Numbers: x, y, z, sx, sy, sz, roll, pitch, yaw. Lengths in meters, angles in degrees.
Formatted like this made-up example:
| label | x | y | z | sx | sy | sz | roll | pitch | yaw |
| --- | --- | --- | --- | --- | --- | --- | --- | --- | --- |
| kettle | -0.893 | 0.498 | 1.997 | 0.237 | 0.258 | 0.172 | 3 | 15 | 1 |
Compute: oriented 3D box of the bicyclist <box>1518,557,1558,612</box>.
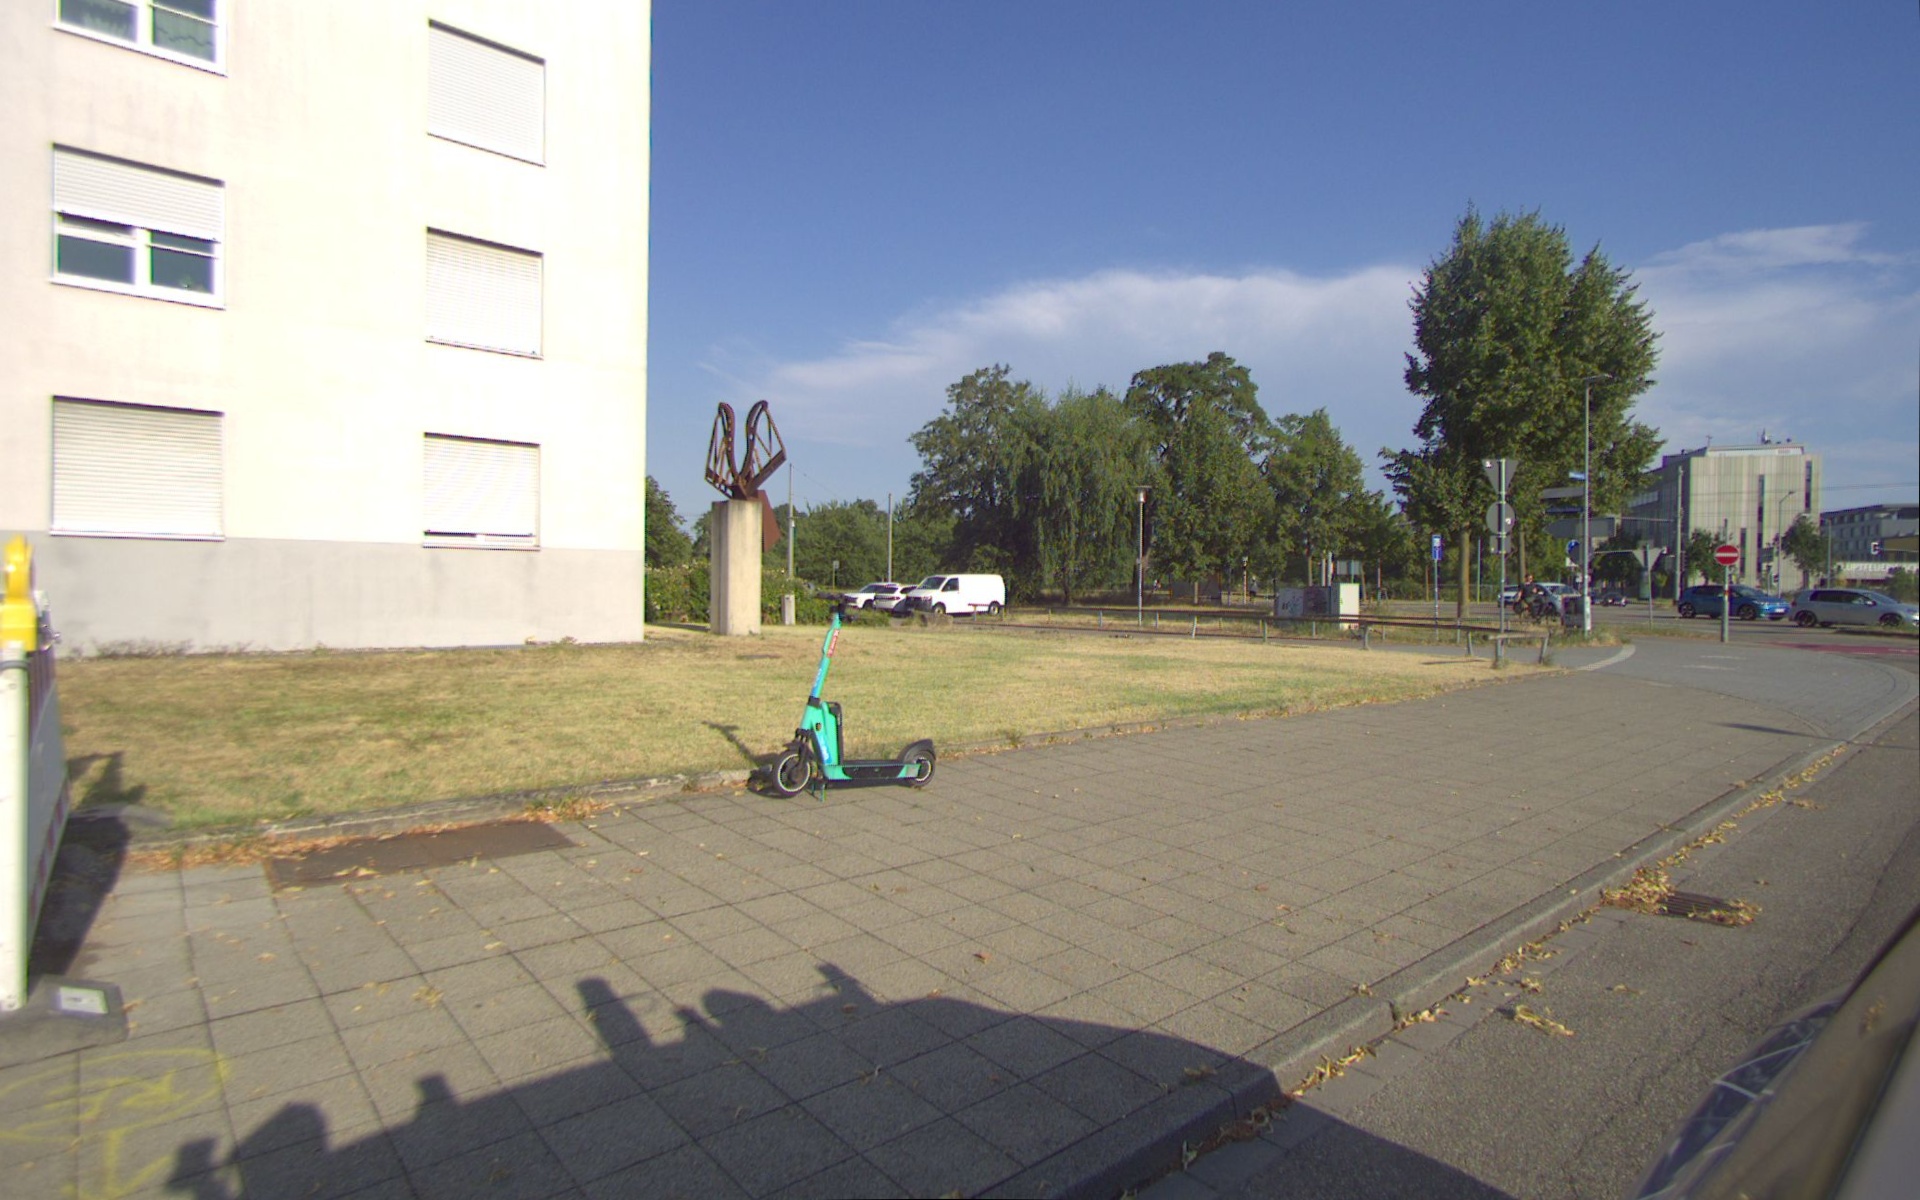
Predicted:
| label | x | y | z | sx | sy | sz | roll | pitch | yaw |
| --- | --- | --- | --- | --- | --- | --- | --- | --- | --- |
| bicyclist | 19.331 | -0.517 | 33.878 | 0.715 | 1.823 | 0.938 | 0 | 1 | -37 |

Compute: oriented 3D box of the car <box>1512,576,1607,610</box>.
| label | x | y | z | sx | sy | sz | roll | pitch | yaw |
| --- | --- | --- | --- | --- | --- | --- | --- | --- | --- |
| car | 29.397 | -0.390 | 49.775 | 1.873 | 1.570 | 4.054 | 1 | 1 | -7 |

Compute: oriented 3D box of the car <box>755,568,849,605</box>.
| label | x | y | z | sx | sy | sz | roll | pitch | yaw |
| --- | --- | --- | --- | --- | --- | --- | --- | --- | --- |
| car | -9.061 | -0.807 | 58.307 | 4.970 | 2.038 | 2.266 | -1 | 2 | -41 |

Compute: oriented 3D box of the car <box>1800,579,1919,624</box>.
| label | x | y | z | sx | sy | sz | roll | pitch | yaw |
| --- | --- | --- | --- | --- | --- | --- | --- | --- | --- |
| car | 33.630 | 0.034 | 37.014 | 1.959 | 1.542 | 4.006 | 1 | 2 | -28 |

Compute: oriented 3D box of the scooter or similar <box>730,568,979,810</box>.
| label | x | y | z | sx | sy | sz | roll | pitch | yaw |
| --- | --- | --- | --- | --- | --- | --- | --- | --- | --- |
| scooter or similar | -0.634 | 0.479 | 6.308 | 1.437 | 1.307 | 0.560 | -2 | 7 | -41 |

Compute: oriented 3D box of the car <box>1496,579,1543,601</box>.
| label | x | y | z | sx | sy | sz | roll | pitch | yaw |
| --- | --- | --- | --- | --- | --- | --- | --- | --- | --- |
| car | 37.391 | -0.710 | 67.566 | 2.083 | 1.401 | 4.528 | 2 | 2 | 37 |

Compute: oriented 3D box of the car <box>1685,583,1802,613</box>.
| label | x | y | z | sx | sy | sz | roll | pitch | yaw |
| --- | --- | --- | --- | --- | --- | --- | --- | --- | --- |
| car | 34.450 | -0.101 | 44.638 | 1.611 | 1.193 | 4.007 | 1 | 1 | -9 |

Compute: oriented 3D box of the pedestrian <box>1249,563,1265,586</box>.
| label | x | y | z | sx | sy | sz | roll | pitch | yaw |
| --- | --- | --- | --- | --- | --- | --- | --- | --- | --- |
| pedestrian | 18.912 | -1.638 | 64.405 | 0.754 | 1.408 | 0.652 | 1 | 2 | -41 |

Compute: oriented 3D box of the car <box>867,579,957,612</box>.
| label | x | y | z | sx | sy | sz | roll | pitch | yaw |
| --- | --- | --- | --- | --- | --- | --- | --- | --- | --- |
| car | -2.249 | -0.232 | 47.747 | 3.931 | 1.461 | 1.868 | -1 | 2 | -42 |

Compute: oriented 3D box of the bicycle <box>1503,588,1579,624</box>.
| label | x | y | z | sx | sy | sz | roll | pitch | yaw |
| --- | --- | --- | --- | --- | --- | --- | --- | --- | --- |
| bicycle | 19.379 | 0.185 | 33.797 | 0.629 | 1.137 | 2.125 | 0 | 1 | -35 |

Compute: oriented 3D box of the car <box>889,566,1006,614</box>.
| label | x | y | z | sx | sy | sz | roll | pitch | yaw |
| --- | --- | --- | --- | --- | --- | --- | --- | --- | --- |
| car | -0.513 | -0.507 | 46.097 | 5.129 | 2.038 | 2.266 | -2 | 3 | -41 |

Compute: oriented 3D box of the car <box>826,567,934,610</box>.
| label | x | y | z | sx | sy | sz | roll | pitch | yaw |
| --- | --- | --- | --- | --- | --- | --- | --- | --- | --- |
| car | -3.944 | -0.608 | 50.257 | 4.970 | 2.038 | 2.266 | -1 | 2 | -41 |
